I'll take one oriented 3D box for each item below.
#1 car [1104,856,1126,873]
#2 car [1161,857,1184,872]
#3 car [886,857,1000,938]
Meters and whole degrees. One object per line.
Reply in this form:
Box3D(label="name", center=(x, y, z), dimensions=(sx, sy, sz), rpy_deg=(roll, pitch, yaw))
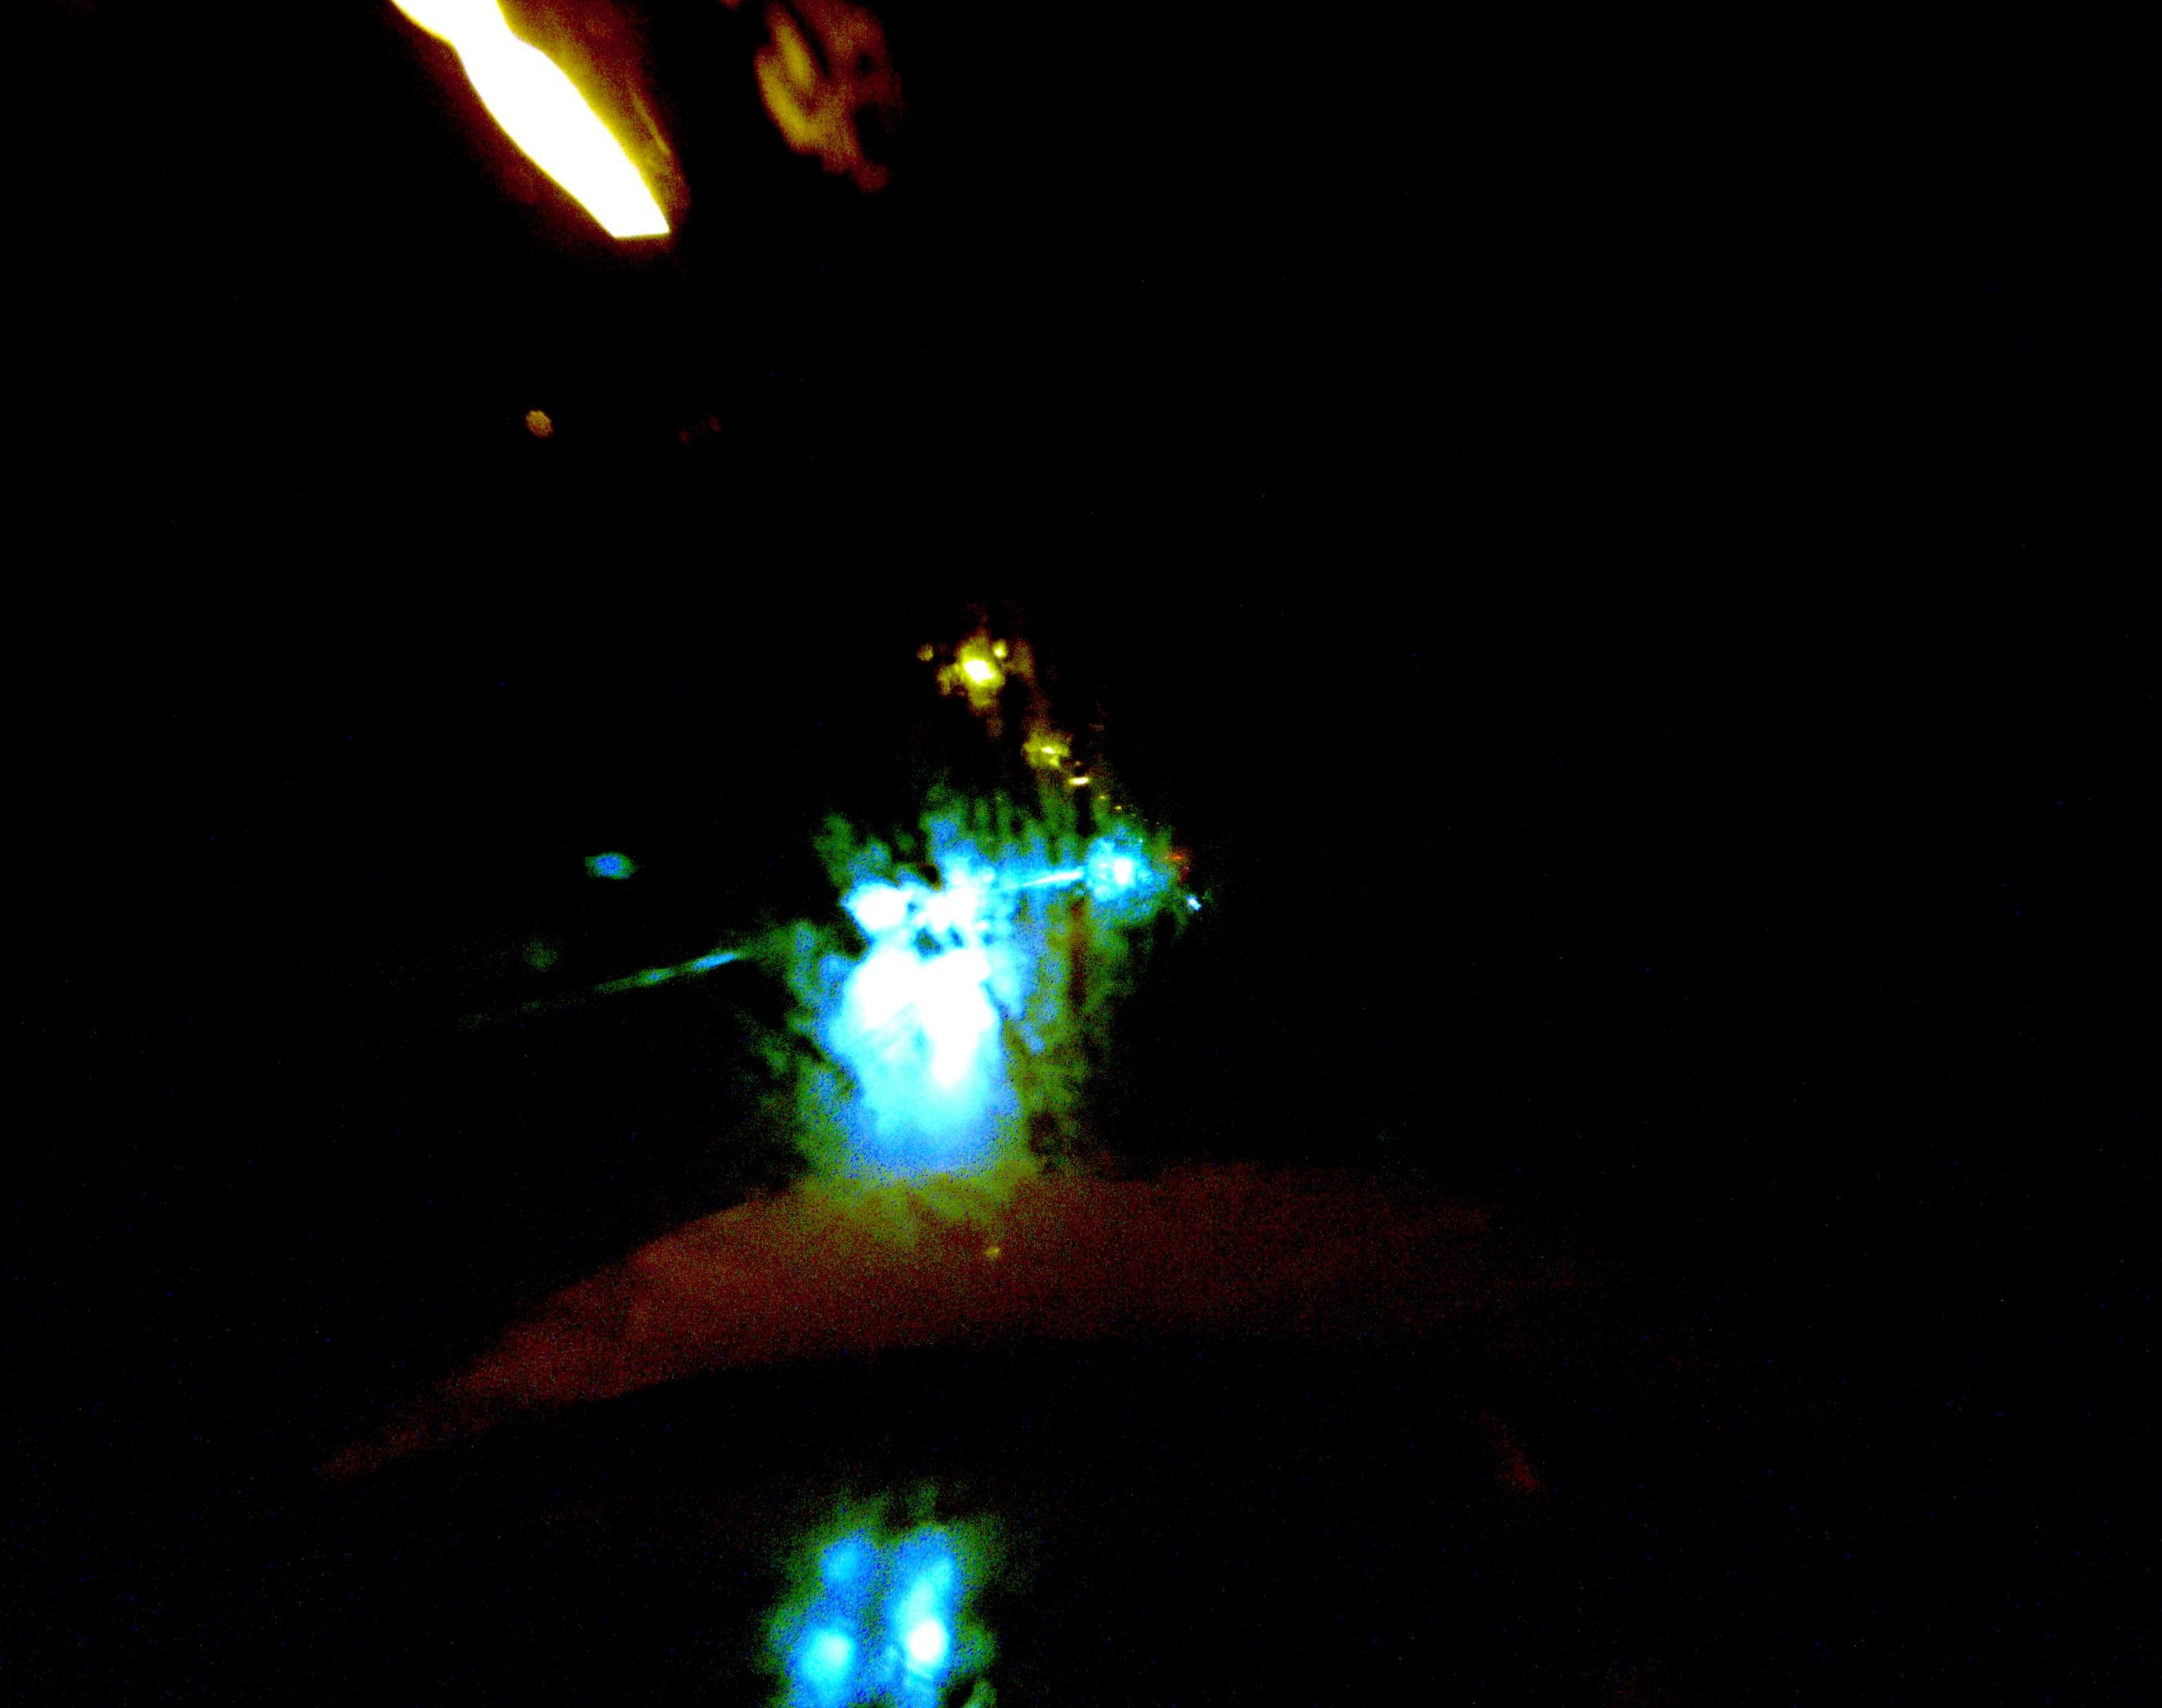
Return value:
Box3D(label="car", center=(2.801, 0.850, 67.237), dimensions=(1.622, 1.397, 4.005), rpy_deg=(-1, 0, 5))
Box3D(label="car", center=(10.072, 1.133, 89.328), dimensions=(1.979, 1.650, 4.015), rpy_deg=(-1, 0, 13))
Box3D(label="car", center=(-2.720, 0.803, 16.865), dimensions=(1.620, 1.447, 3.937), rpy_deg=(0, 0, 1))
